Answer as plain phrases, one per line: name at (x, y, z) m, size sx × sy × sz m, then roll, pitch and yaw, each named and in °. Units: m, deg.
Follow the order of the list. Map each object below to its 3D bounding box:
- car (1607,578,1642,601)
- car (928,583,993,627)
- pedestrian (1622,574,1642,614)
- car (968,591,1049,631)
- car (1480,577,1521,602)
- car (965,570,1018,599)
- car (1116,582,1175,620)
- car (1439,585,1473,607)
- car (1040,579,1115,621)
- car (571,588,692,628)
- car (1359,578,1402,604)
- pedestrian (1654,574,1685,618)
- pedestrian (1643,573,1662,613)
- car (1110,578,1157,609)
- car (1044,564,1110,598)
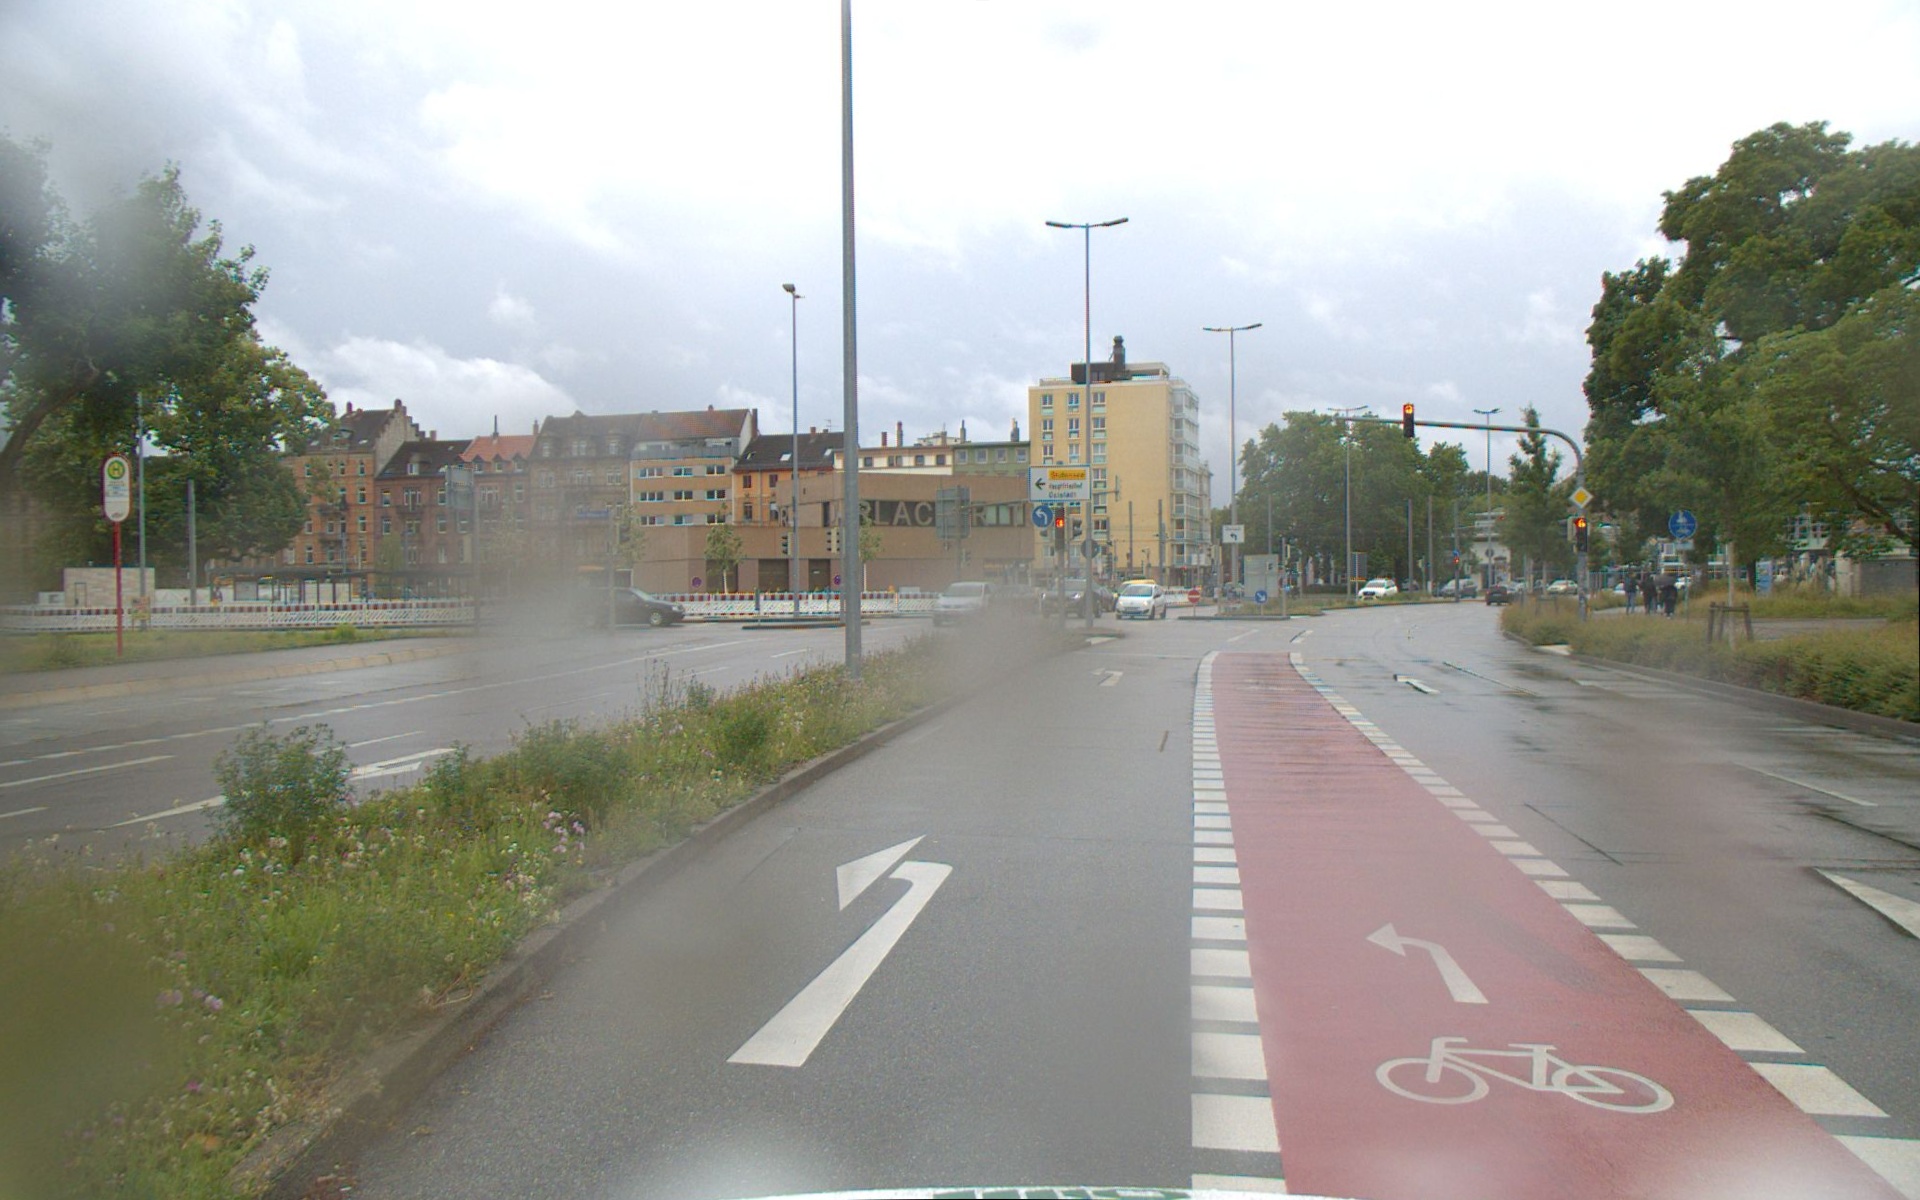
car at (49.357, -0.767, 122.877) m, size 1.757 × 1.672 × 4.149 m, roll 0°, pitch 1°, yaw 32°
car at (0.063, 0.139, 57.614) m, size 1.643 × 1.429 × 4.161 m, roll -1°, pitch 0°, yaw 8°
pedestrian at (27.438, -0.266, 67.525) m, size 0.738 × 1.615 × 0.936 m, roll 0°, pitch 0°, yaw 20°
car at (2.239, 0.480, 76.124) m, size 1.681 × 1.735 × 3.796 m, roll 0°, pitch 1°, yaw 43°
car at (37.000, -0.753, 113.226) m, size 1.757 × 1.672 × 4.149 m, roll 0°, pitch 1°, yaw 32°
car at (3.386, -1.644, 175.819) m, size 5.236 × 2.937 × 2.341 m, roll -1°, pitch 1°, yaw 13°
car at (8.014, 0.032, 71.138) m, size 1.644 × 1.527 × 3.869 m, roll -1°, pitch 0°, yaw 20°
car at (44.939, -0.370, 149.771) m, size 1.666 × 1.720 × 4.167 m, roll -1°, pitch 2°, yaw 37°
car at (5.085, -0.030, 71.109) m, size 1.952 × 1.664 × 4.604 m, roll -2°, pitch 0°, yaw 20°
car at (-12.170, 0.278, 61.343) m, size 4.103 × 1.427 × 1.619 m, roll -1°, pitch 0°, yaw 4°
car at (31.424, -0.682, 123.440) m, size 1.792 × 1.711 × 5.156 m, roll -2°, pitch 0°, yaw 30°
pedestrian at (26.012, -0.154, 60.652) m, size 1.001 × 1.615 × 0.936 m, roll 0°, pitch 0°, yaw 20°
pedestrian at (28.152, -0.276, 67.242) m, size 0.688 × 1.615 × 0.936 m, roll 0°, pitch 0°, yaw 20°
car at (10.186, -0.388, 96.749) m, size 1.670 × 1.735 × 4.153 m, roll 0°, pitch 1°, yaw 21°
car at (12.289, -2.038, 173.504) m, size 6.597 × 3.439 × 2.812 m, roll -1°, pitch 1°, yaw 13°
